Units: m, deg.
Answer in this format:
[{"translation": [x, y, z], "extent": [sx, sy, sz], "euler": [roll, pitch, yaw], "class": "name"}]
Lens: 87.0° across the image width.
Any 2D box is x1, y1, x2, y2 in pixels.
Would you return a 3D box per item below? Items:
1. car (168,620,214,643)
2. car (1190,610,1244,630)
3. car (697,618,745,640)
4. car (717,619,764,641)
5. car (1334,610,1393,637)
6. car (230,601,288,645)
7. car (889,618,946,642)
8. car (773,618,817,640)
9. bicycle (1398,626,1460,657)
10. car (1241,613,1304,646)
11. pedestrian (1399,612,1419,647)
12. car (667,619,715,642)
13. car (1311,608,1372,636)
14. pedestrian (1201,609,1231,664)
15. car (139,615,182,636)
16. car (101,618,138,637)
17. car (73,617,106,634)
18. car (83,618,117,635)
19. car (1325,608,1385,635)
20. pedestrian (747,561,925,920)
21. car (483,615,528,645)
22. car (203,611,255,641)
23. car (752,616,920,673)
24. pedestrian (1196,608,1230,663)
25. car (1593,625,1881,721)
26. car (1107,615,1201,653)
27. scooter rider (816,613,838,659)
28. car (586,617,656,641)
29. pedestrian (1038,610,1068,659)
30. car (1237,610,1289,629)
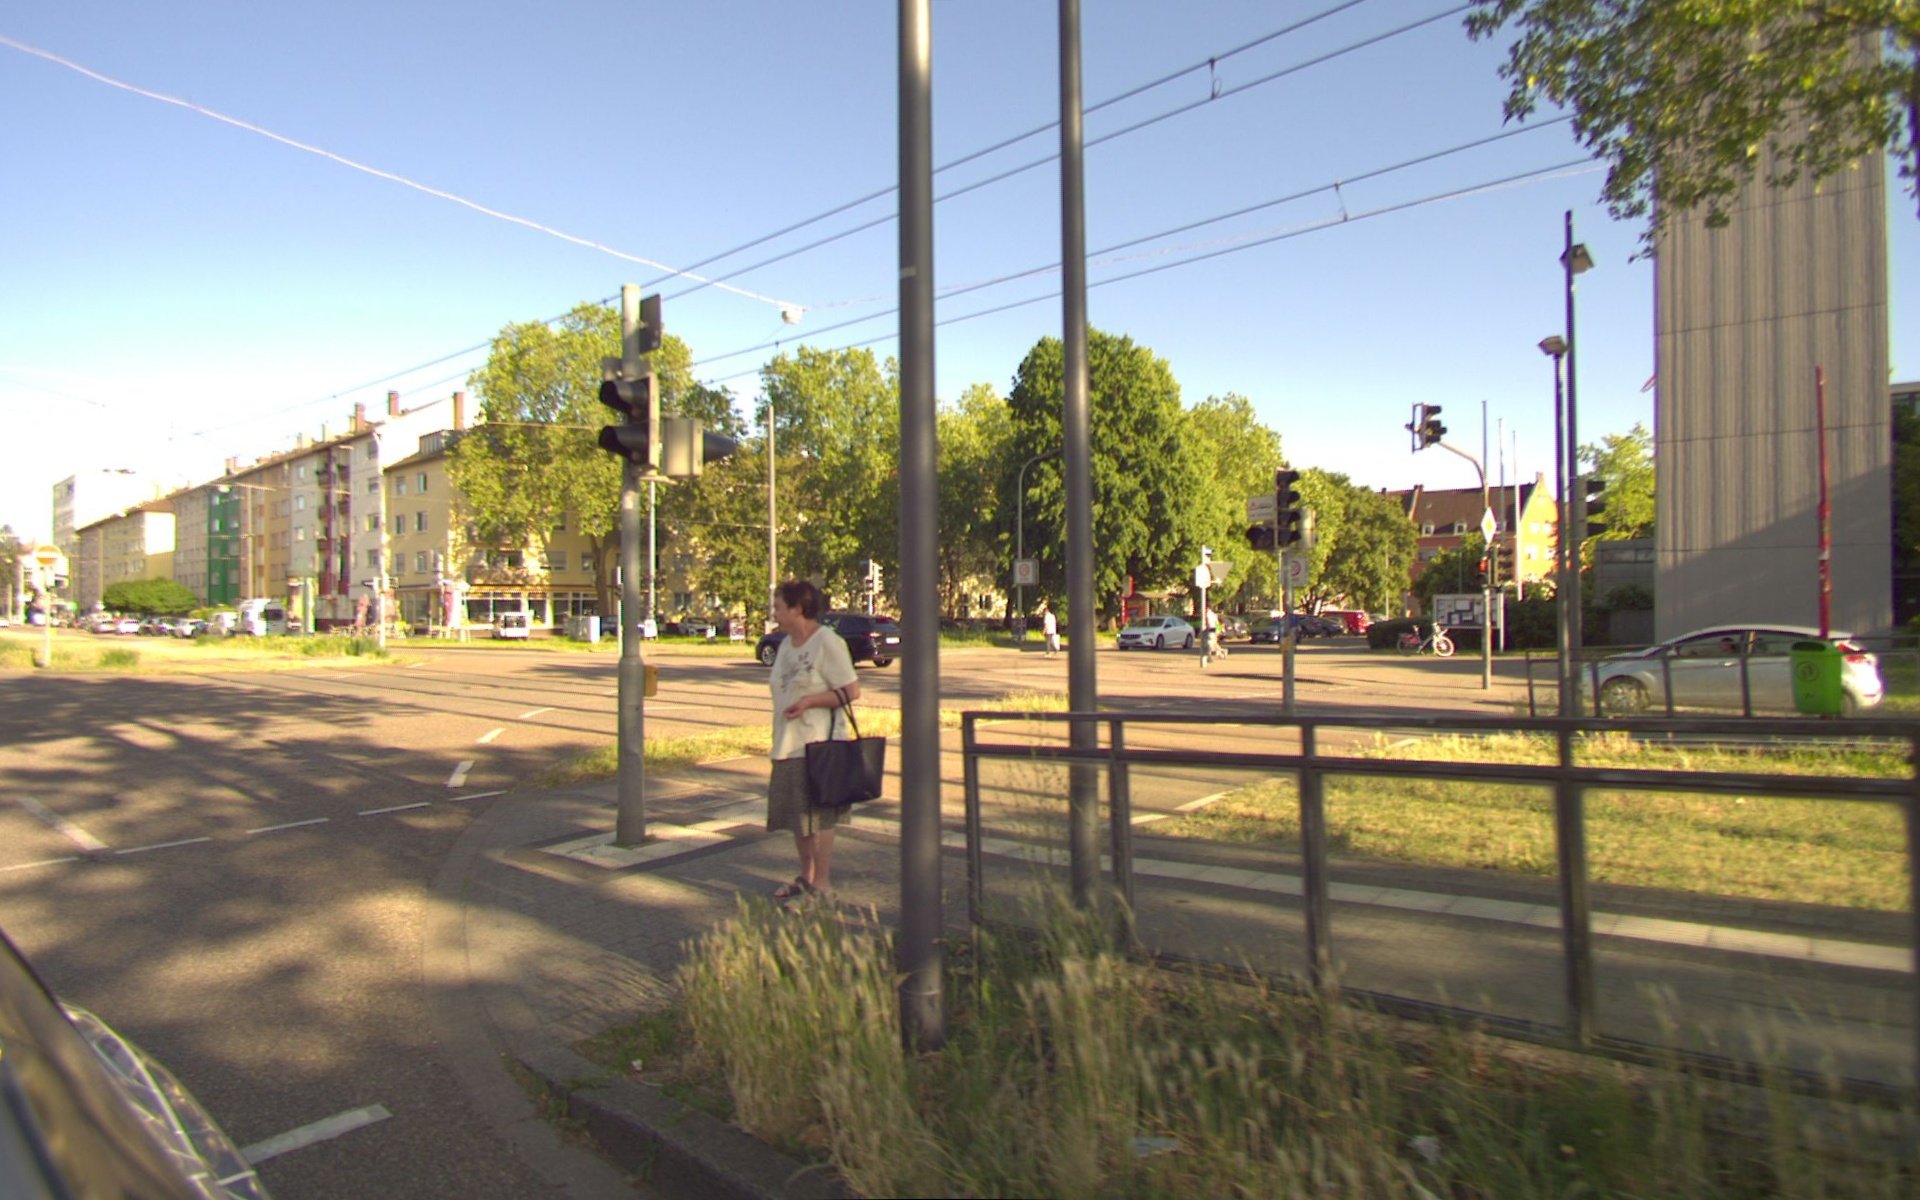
[{"translation": [-61.563, 2.503, 80.964], "extent": [5.158, 1.720, 2.116], "euler": [-1, -1, 43], "class": "car"}, {"translation": [20.997, 1.609, 82.778], "extent": [1.967, 1.564, 3.943], "euler": [0, -1, -37], "class": "car"}, {"translation": [-17.591, 2.134, 74.442], "extent": [1.968, 1.564, 3.943], "euler": [0, -1, -37], "class": "car"}, {"translation": [-13.821, 1.882, 63.591], "extent": [1.616, 1.318, 4.012], "euler": [1, -1, -31], "class": "car"}, {"translation": [32.621, 1.896, 81.909], "extent": [3.997, 2.029, 1.973], "euler": [-1, 0, 41], "class": "car"}, {"translation": [-47.401, 1.545, 68.351], "extent": [5.229, 2.846, 2.201], "euler": [-1, -1, 43], "class": "car"}, {"translation": [-2.959, 2.045, 69.560], "extent": [1.968, 1.564, 3.943], "euler": [0, -1, -37], "class": "car"}, {"translation": [-12.642, 2.198, 77.317], "extent": [1.649, 1.619, 3.943], "euler": [0, -1, -37], "class": "car"}, {"translation": [14.624, 1.292, 31.602], "extent": [1.697, 0.935, 0.441], "euler": [-1, -1, 38], "class": "bicycle"}, {"translation": [16.751, 1.549, 54.177], "extent": [1.786, 1.728, 3.945], "euler": [-2, -2, 41], "class": "car"}, {"translation": [19.408, 1.269, 43.744], "extent": [0.547, 1.478, 0.857], "euler": [-1, -1, 43], "class": "pedestrian"}, {"translation": [-19.432, 2.166, 72.982], "extent": [1.968, 1.564, 3.943], "euler": [0, -1, -37], "class": "car"}, {"translation": [29.591, 1.711, 78.466], "extent": [3.997, 2.029, 1.973], "euler": [-1, 0, 41], "class": "car"}, {"translation": [8.005, 1.144, 31.663], "extent": [0.746, 1.694, 0.589], "euler": [-1, -2, 35], "class": "pedestrian"}, {"translation": [-68.998, 2.176, 87.317], "extent": [5.446, 1.720, 2.116], "euler": [-1, -1, 43], "class": "car"}, {"translation": [-80.960, 2.616, 97.470], "extent": [5.446, 1.720, 2.116], "euler": [-1, -1, 43], "class": "car"}, {"translation": [-95.383, 2.778, 110.868], "extent": [5.403, 1.720, 2.116], "euler": [-1, -1, 43], "class": "car"}, {"translation": [-90.498, 2.744, 106.499], "extent": [5.403, 1.720, 2.116], "euler": [-1, -1, 43], "class": "car"}, {"translation": [31.233, 1.685, 80.151], "extent": [3.997, 2.029, 1.973], "euler": [-1, 0, 41], "class": "car"}, {"translation": [-0.577, 0.609, 4.777], "extent": [0.537, 1.540, 0.653], "euler": [-1, -1, 34], "class": "pedestrian"}, {"translation": [-30.082, 1.974, 66.887], "extent": [1.882, 1.896, 4.008], "euler": [0, -1, -37], "class": "car"}, {"translation": [-52.867, 1.873, 73.170], "extent": [5.158, 2.050, 2.116], "euler": [-1, -1, 43], "class": "car"}, {"translation": [-3.472, 1.205, 27.961], "extent": [4.519, 1.453, 1.933], "euler": [-1, -1, 36], "class": "car"}, {"translation": [8.204, 1.144, 32.824], "extent": [0.878, 1.736, 0.589], "euler": [-1, -2, 36], "class": "pedestrian"}, {"translation": [11.943, 1.058, 15.734], "extent": [3.414, 1.335, 1.311], "euler": [-1, -1, 39], "class": "car"}, {"translation": [8.347, 1.426, 43.357], "extent": [1.999, 1.498, 4.467], "euler": [-2, -2, 41], "class": "car"}, {"translation": [-5.072, 1.357, 38.488], "extent": [0.572, 1.708, 0.589], "euler": [-1, -2, 35], "class": "scooter rider"}, {"translation": [-21.103, 1.778, 63.053], "extent": [3.930, 1.448, 1.723], "euler": [1, -1, -26], "class": "car"}, {"translation": [3.249, 1.201, 35.346], "extent": [0.878, 1.708, 0.589], "euler": [-1, -2, 36], "class": "pedestrian"}, {"translation": [25.732, 1.652, 86.157], "extent": [1.966, 1.564, 3.946], "euler": [0, -1, -31], "class": "car"}]
